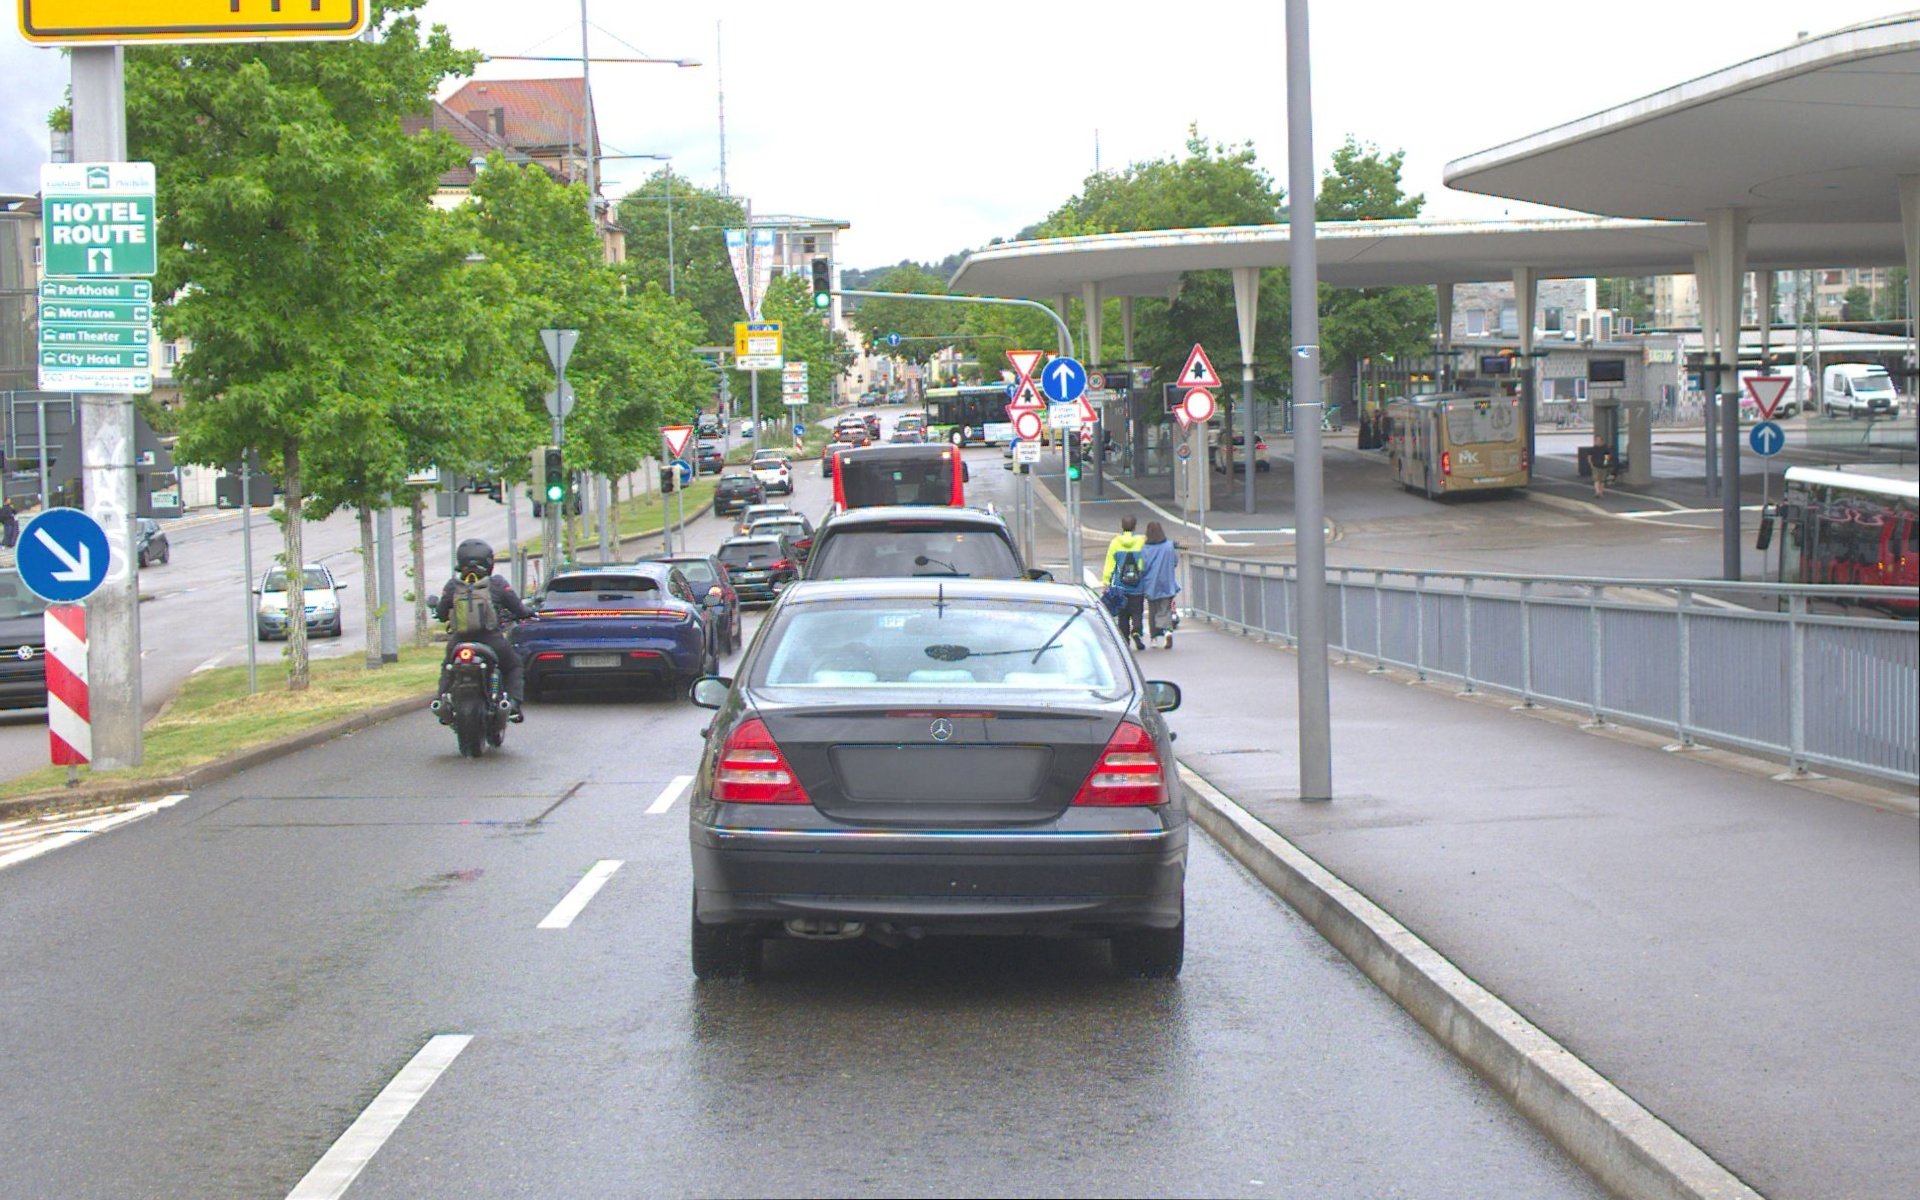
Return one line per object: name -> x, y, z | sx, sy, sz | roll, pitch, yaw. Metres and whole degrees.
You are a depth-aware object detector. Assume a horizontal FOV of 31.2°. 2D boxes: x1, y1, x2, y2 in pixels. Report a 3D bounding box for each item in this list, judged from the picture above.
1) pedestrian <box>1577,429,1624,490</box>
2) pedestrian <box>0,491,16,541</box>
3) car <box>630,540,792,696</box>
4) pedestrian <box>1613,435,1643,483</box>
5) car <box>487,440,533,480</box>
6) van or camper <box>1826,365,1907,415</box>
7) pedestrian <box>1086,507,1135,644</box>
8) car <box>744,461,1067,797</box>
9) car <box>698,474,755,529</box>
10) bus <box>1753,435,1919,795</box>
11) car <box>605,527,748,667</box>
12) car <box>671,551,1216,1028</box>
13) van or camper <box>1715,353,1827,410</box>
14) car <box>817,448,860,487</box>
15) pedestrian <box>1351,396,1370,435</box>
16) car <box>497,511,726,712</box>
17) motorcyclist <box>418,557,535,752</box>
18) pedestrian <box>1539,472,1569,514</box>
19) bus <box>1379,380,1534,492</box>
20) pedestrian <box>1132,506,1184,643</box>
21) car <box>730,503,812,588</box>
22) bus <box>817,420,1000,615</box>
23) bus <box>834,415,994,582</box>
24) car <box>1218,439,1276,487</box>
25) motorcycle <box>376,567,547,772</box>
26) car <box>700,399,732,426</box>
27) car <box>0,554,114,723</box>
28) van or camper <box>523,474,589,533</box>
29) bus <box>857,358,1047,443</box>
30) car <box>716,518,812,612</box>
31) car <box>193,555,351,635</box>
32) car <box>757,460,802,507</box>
pedestrian -> 18.081, -3.964, 97.030 | 0.717, 1.678, 1.021 | -6, 4, -26
pedestrian -> -33.609, -2.944, 120.760 | 0.474, 1.678, 0.763 | -3, 4, 6
car -> -3.181, 0.191, 44.506 | 1.741, 1.561, 3.872 | -5, 4, 0
pedestrian -> 20.196, -4.270, 103.970 | 0.793, 1.373, 0.633 | -2, 4, 17
car -> -21.725, -6.766, 166.117 | 1.908, 1.656, 4.860 | -3, 5, -4
van or camper -> 40.119, -9.296, 152.315 | 1.993, 2.095, 5.481 | 0, 2, -1
pedestrian -> 1.851, -0.300, 42.267 | 0.522, 1.664, 0.580 | -1, 1, -1
car -> -0.388, 0.095, 24.871 | 1.957, 1.869, 4.875 | -5, 4, 0
car -> -8.388, -3.531, 123.692 | 1.797, 1.900, 3.640 | 1, 1, -1
bus -> 11.043, 0.260, 34.715 | 2.844, 3.349, 12.430 | 1, 5, -1
car -> -4.073, -0.085, 49.920 | 1.676, 1.617, 3.872 | -5, 4, 0
car -> -0.095, 0.568, 12.974 | 1.697, 1.457, 4.304 | 1, 1, -1
van or camper -> 37.369, -10.073, 158.546 | 4.607, 2.549, 2.119 | 0, 2, -2
car -> -5.437, -5.905, 153.956 | 1.865, 1.678, 4.000 | 0, 1, -1
pedestrian -> 16.614, -7.654, 142.649 | 0.580, 1.573, 0.560 | 1, 0, 29
car -> -3.489, 0.056, 35.163 | 1.816, 1.565, 4.405 | -5, 4, 0
motorcyclist -> -3.544, 0.391, 25.246 | 0.641, 1.342, 0.689 | -3, 4, 3
pedestrian -> 18.408, -3.320, 106.490 | 0.793, 1.222, 0.633 | -2, 4, 17
bus -> 15.281, -5.183, 106.733 | 2.721, 3.032, 12.092 | -4, 4, -1
pedestrian -> 2.429, -0.312, 42.243 | 0.589, 1.665, 0.580 | 0, -1, -1
car -> -4.256, -1.260, 77.880 | 1.575, 1.561, 3.872 | -5, 4, 0
bus -> -0.988, -1.852, 71.008 | 3.286, 3.280, 10.880 | -4, 4, 0
bus -> -0.998, -2.447, 79.401 | 3.291, 3.277, 8.851 | -4, 4, 0
car -> 10.960, -5.255, 131.611 | 1.711, 1.656, 4.241 | -2, 4, -2
motorcycle -> -3.605, 0.480, 25.007 | 0.793, 1.257, 1.855 | -4, 4, 3
car -> -16.275, -12.507, 229.168 | 1.780, 1.561, 3.431 | -5, 4, 0
car -> -11.660, 0.458, 43.088 | 1.844, 1.961, 4.686 | -2, 1, -12
van or camper -> -16.050, -3.809, 136.395 | 2.216, 2.065, 5.285 | -4, 1, -9
bus -> -0.518, -10.370, 179.801 | 2.839, 3.973, 11.859 | -6, 5, -39
car -> -3.870, -0.723, 68.473 | 1.575, 1.499, 3.872 | -5, 4, 0
car -> -13.868, -0.115, 69.171 | 1.632, 1.443, 3.876 | -6, 4, -34
car -> -7.189, -4.635, 137.195 | 1.642, 1.798, 3.640 | 1, 1, -1
